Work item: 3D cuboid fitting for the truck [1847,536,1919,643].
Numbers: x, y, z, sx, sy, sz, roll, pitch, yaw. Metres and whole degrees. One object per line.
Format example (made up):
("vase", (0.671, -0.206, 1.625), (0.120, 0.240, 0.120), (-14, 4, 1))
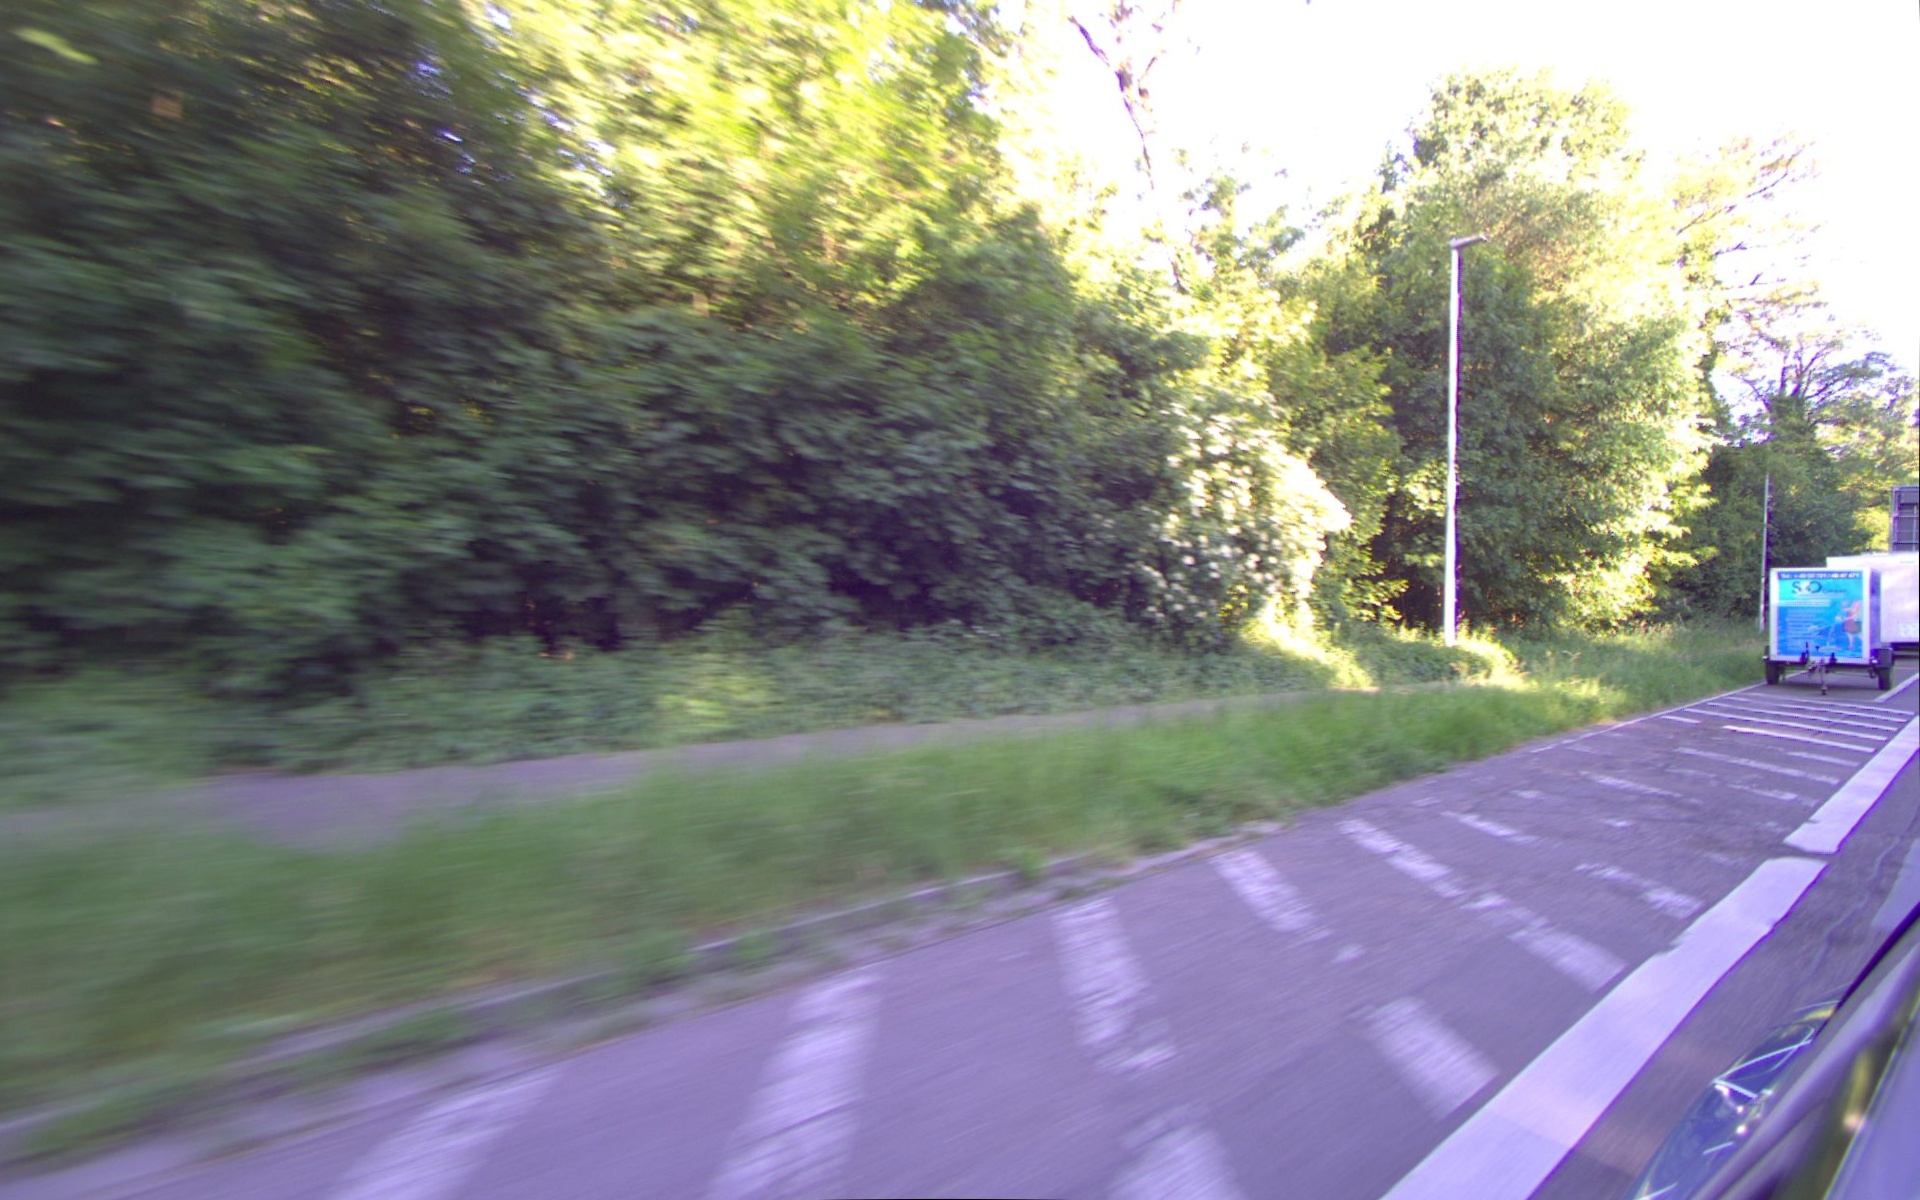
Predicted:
("truck", (32.055, -0.340, 33.946), (7.009, 3.277, 2.703), (0, 3, -44))

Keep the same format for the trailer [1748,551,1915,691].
("trailer", (15.545, 0.325, 17.989), (4.060, 2.205, 1.866), (0, 0, -44))

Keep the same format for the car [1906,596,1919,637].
("car", (37.183, 0.653, 38.242), (3.847, 1.482, 1.804), (0, 3, -43))

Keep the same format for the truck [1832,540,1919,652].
("truck", (26.515, -0.112, 28.505), (5.505, 2.908, 2.385), (0, -1, -44))
